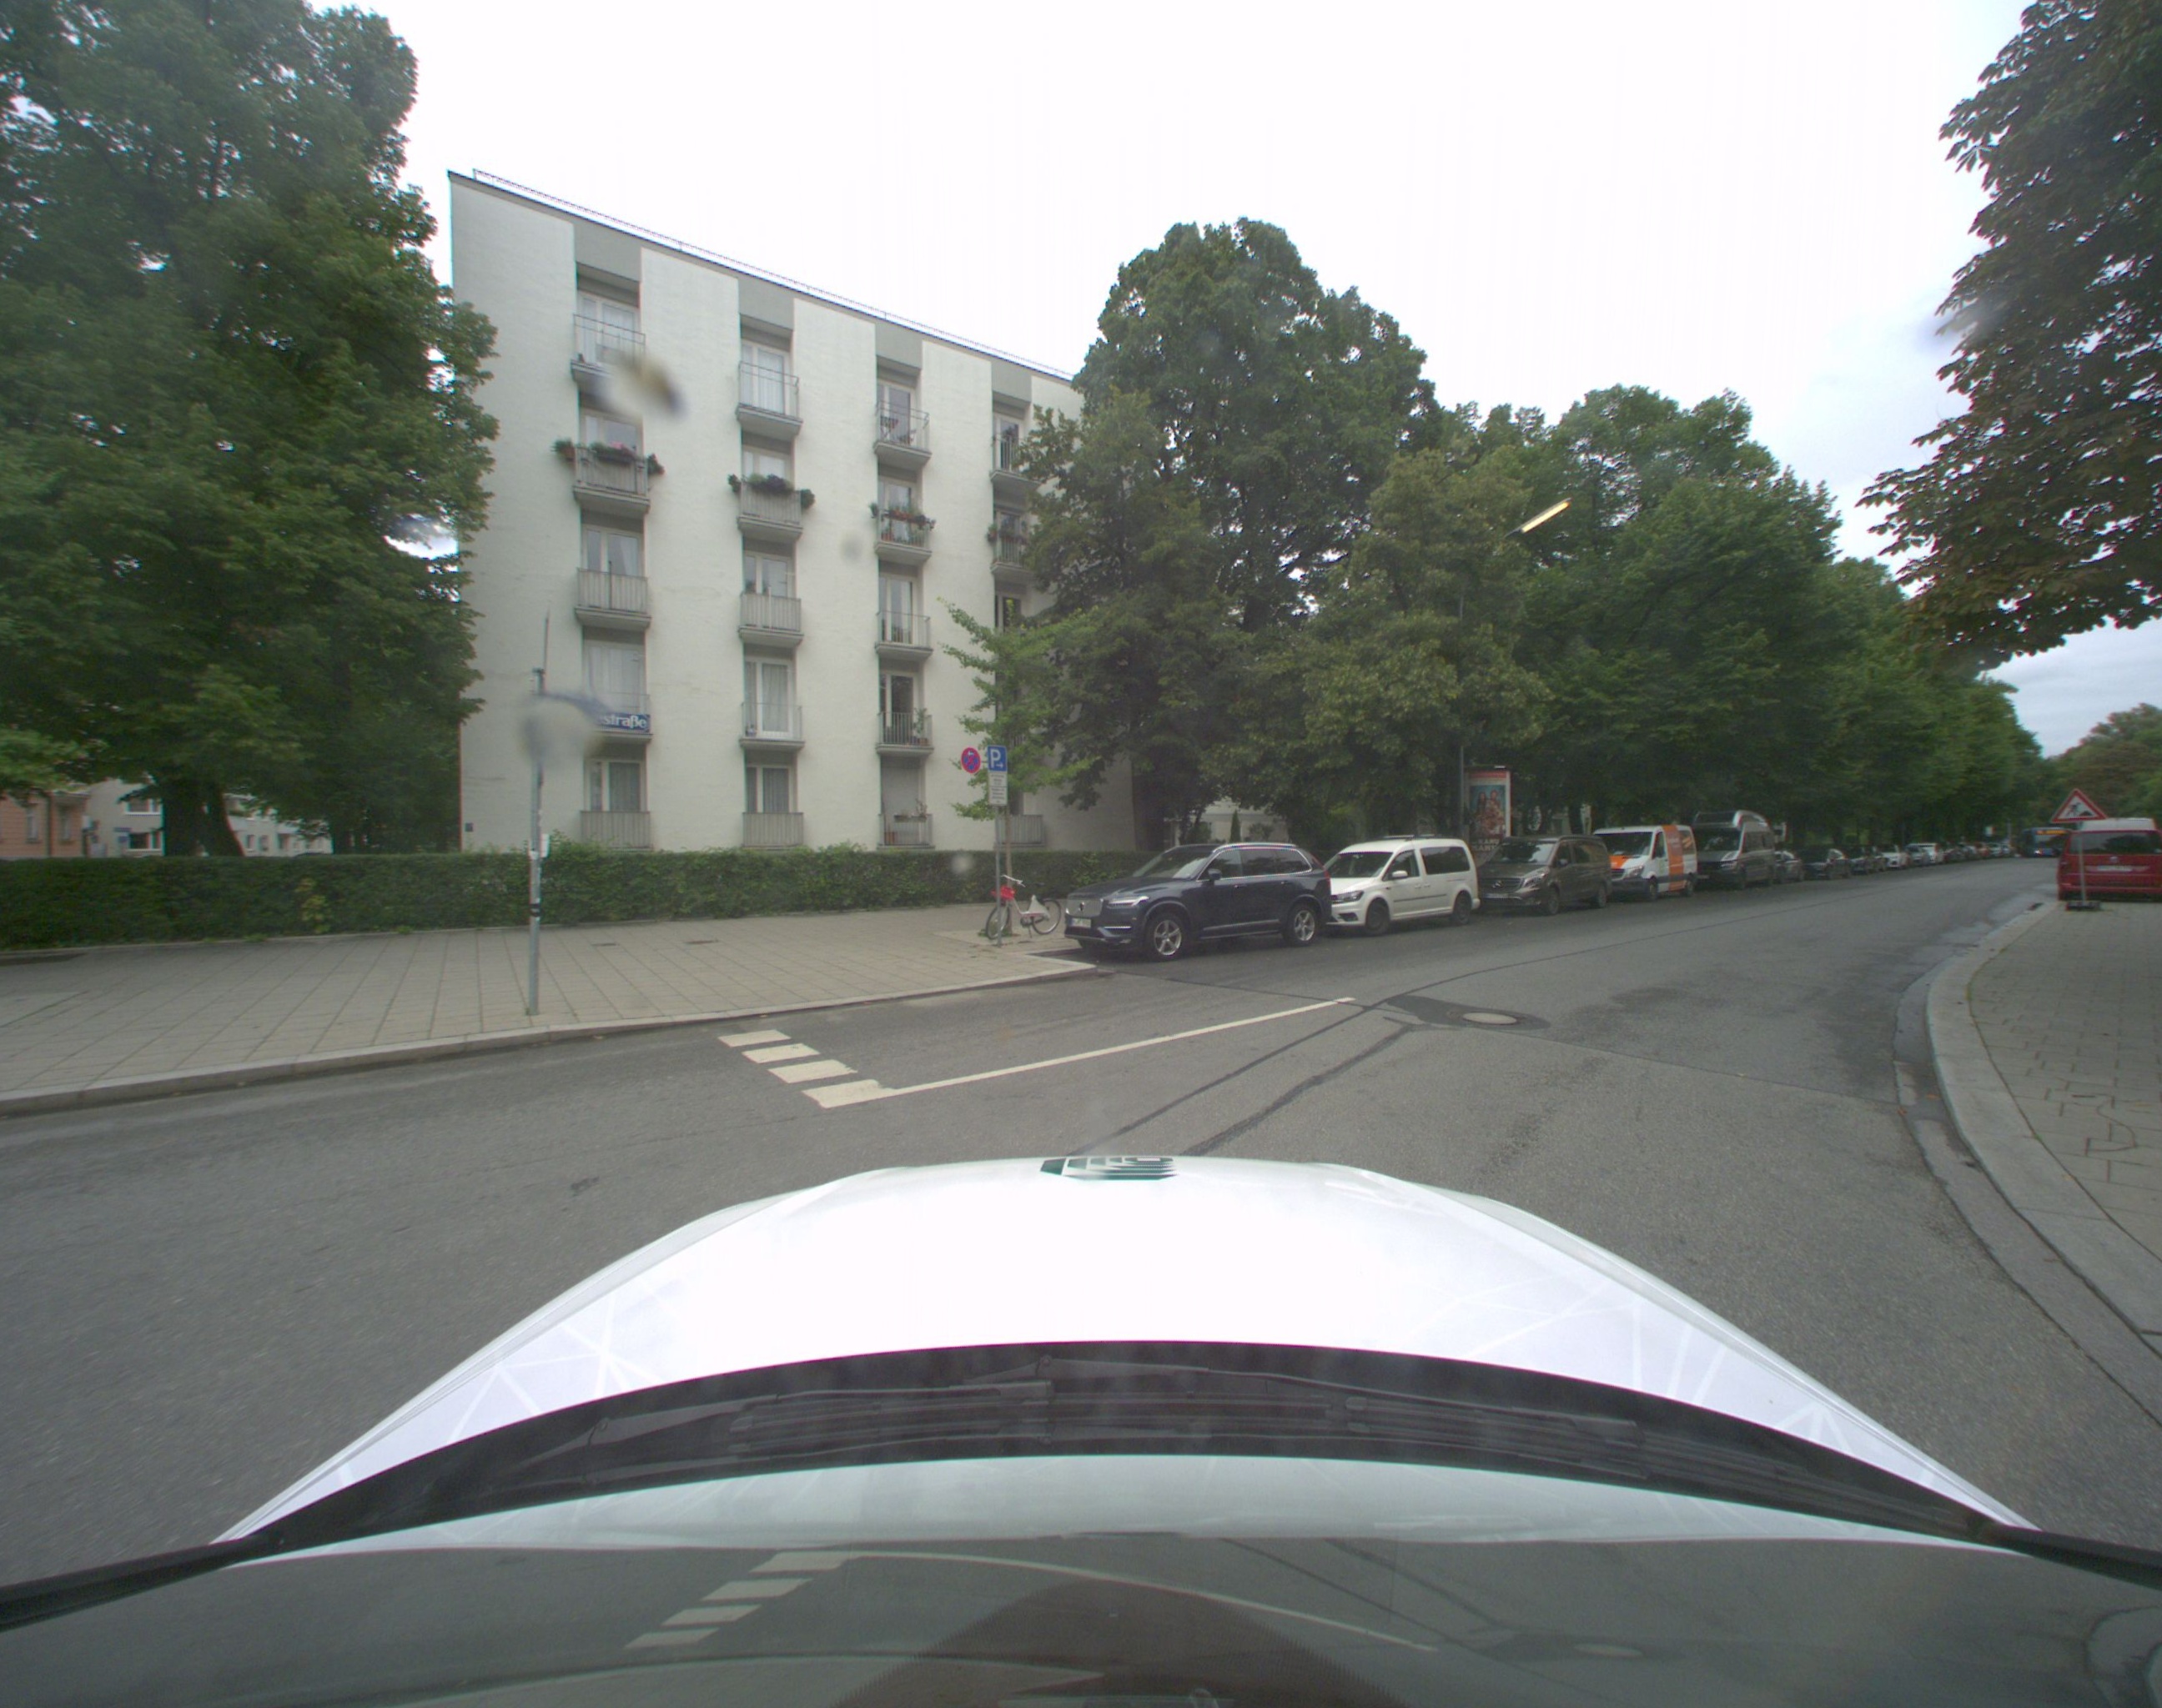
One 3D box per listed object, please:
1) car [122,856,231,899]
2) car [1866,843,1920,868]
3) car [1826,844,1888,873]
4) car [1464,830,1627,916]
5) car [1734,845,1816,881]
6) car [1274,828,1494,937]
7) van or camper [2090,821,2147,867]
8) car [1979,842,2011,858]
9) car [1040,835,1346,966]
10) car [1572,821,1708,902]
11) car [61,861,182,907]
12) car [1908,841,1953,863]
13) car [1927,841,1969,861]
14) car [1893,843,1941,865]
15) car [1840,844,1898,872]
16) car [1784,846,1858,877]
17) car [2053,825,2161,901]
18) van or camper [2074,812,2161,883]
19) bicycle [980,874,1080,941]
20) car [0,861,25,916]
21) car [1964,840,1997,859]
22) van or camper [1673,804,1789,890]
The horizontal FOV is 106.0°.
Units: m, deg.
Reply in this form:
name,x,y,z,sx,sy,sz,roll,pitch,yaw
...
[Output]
name,x,y,z,sx,sy,sz,roll,pitch,yaw
car,-38.284,0.939,34.594,1.847,1.634,4.076,-2,1,-30
car,49.493,0.057,49.644,4.019,1.473,1.837,-1,0,-38
car,40.764,0.210,42.771,4.020,1.473,1.837,-1,0,-39
car,11.929,0.424,20.750,5.234,1.933,1.871,-1,-1,-40
car,29.281,0.334,34.315,4.019,1.416,1.859,-1,0,-38
car,6.263,0.495,16.593,4.870,1.918,1.815,-1,-1,-37
van or camper,65.524,-0.627,51.446,5.267,2.733,2.098,-1,-1,-38
car,92.313,-0.430,82.245,4.019,1.572,1.837,-1,0,-38
car,1.949,0.623,13.341,4.934,1.792,1.978,-1,-1,-36
car,17.363,0.200,25.198,5.268,2.272,1.931,-1,-1,-38
car,-35.955,1.071,30.663,1.848,1.505,4.072,-2,1,-34
car,62.015,-0.153,59.442,4.019,1.564,1.837,-1,0,-38
car,67.594,-0.243,63.474,4.019,1.473,1.837,-1,0,-38
car,57.457,-0.002,55.954,4.019,1.473,1.837,-1,0,-38
car,44.657,0.190,46.130,4.019,1.473,1.837,-1,0,-38
car,33.977,0.313,37.346,4.019,1.347,1.859,-1,0,-38
car,27.820,0.207,21.918,4.736,1.839,1.974,-1,-1,-39
van or camper,40.254,-0.233,31.535,5.268,2.546,2.114,-1,-1,-38
bicycle,-0.878,0.920,14.445,1.840,1.049,0.486,-1,1,-42
car,-30.102,0.997,21.343,1.807,1.505,4.070,-3,1,-36
car,85.190,-0.422,77.130,4.019,1.701,1.837,-1,0,-38
van or camper,24.525,-0.246,30.628,6.039,2.945,1.984,-1,-1,-38
